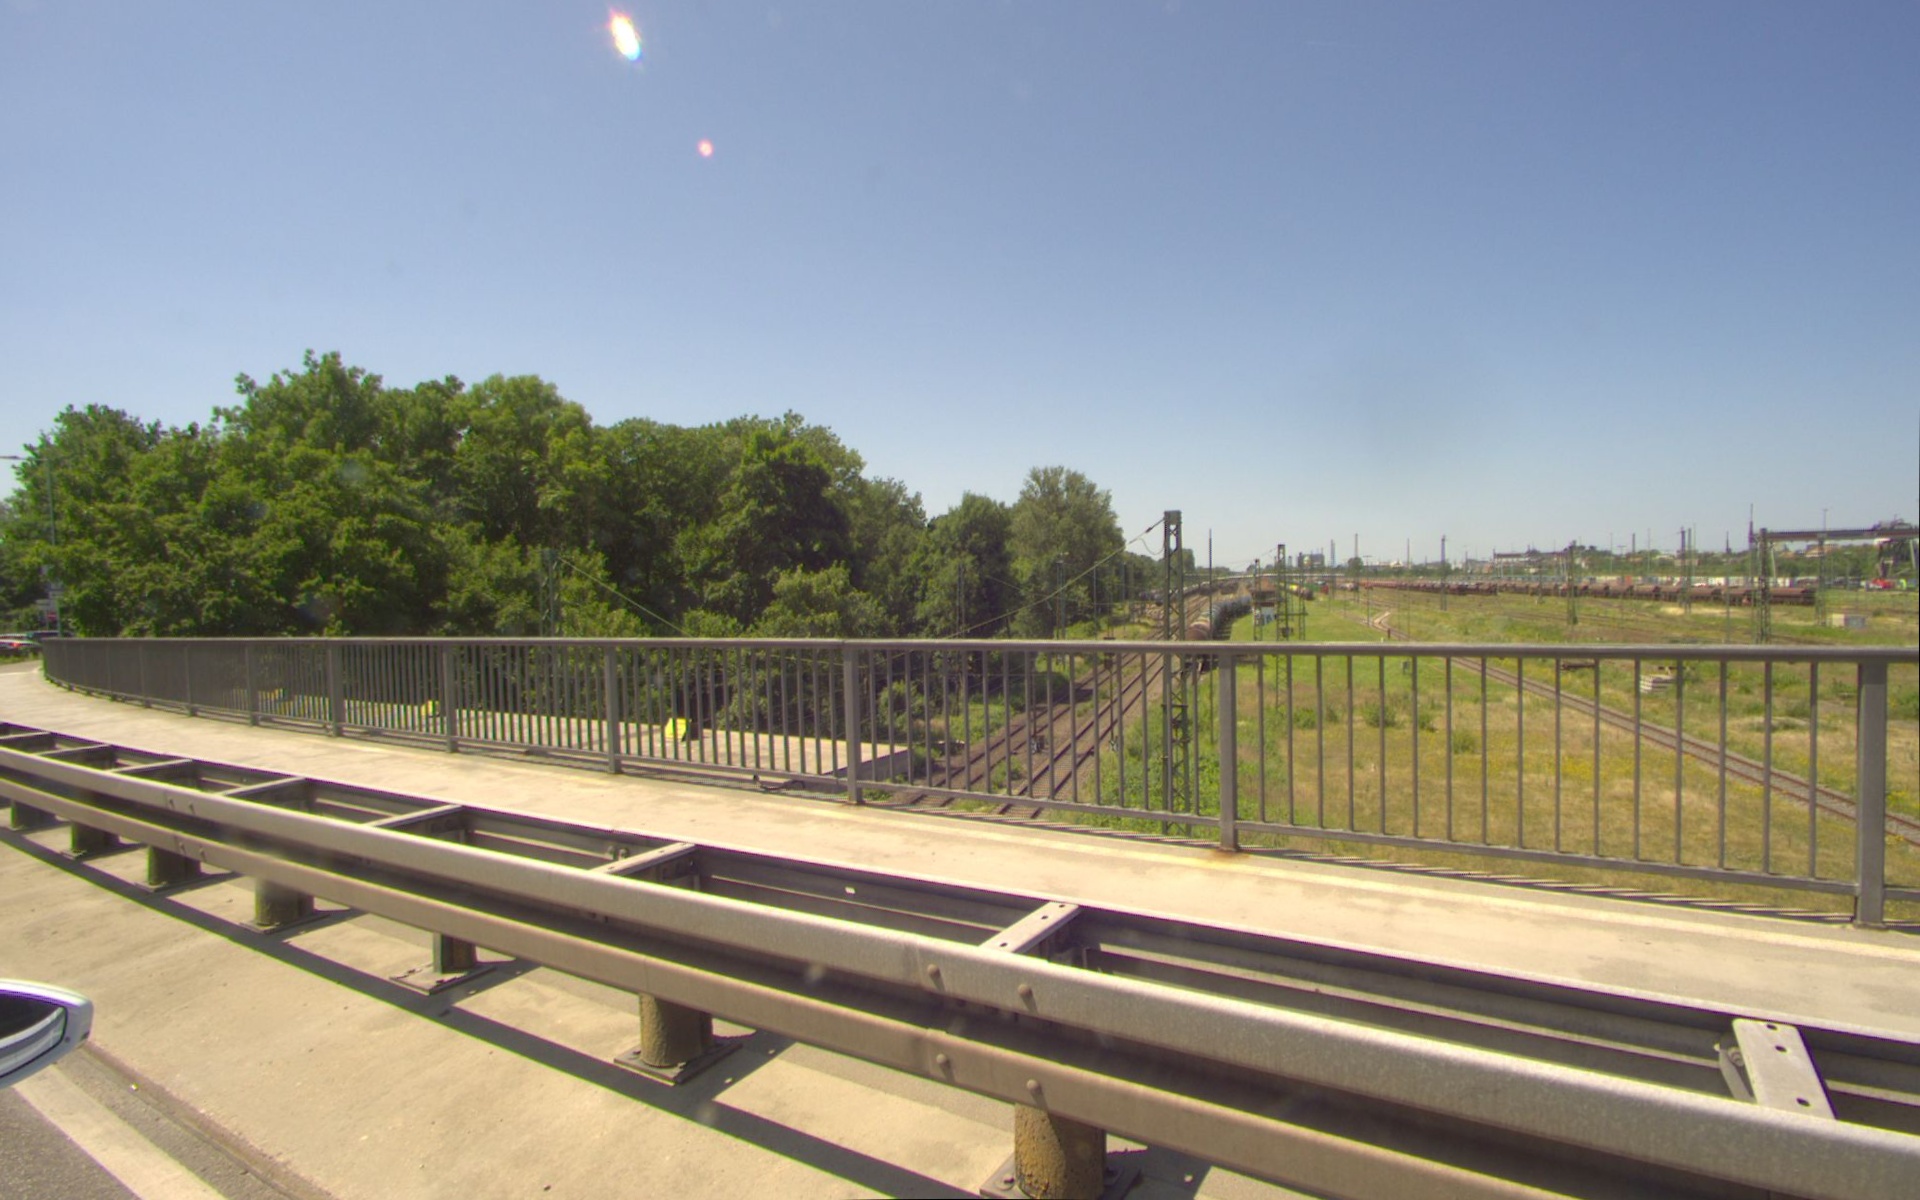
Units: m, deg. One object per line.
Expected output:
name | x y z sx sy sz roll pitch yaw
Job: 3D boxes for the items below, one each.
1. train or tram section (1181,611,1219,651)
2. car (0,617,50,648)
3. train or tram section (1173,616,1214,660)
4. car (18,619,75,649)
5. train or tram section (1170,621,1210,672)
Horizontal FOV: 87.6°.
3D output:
train or tram section | 32.066 4.038 133.169 3.783 4.366 13.603 -2 1 18
car | -52.936 1.861 56.151 1.972 1.594 3.981 2 -4 -31
train or tram section | 28.175 4.445 120.162 3.783 4.366 13.605 -2 1 17
car | -56.333 2.125 61.805 1.666 1.783 3.982 0 -2 -29
train or tram section | 24.629 4.836 106.980 3.781 4.366 13.612 -2 1 14
